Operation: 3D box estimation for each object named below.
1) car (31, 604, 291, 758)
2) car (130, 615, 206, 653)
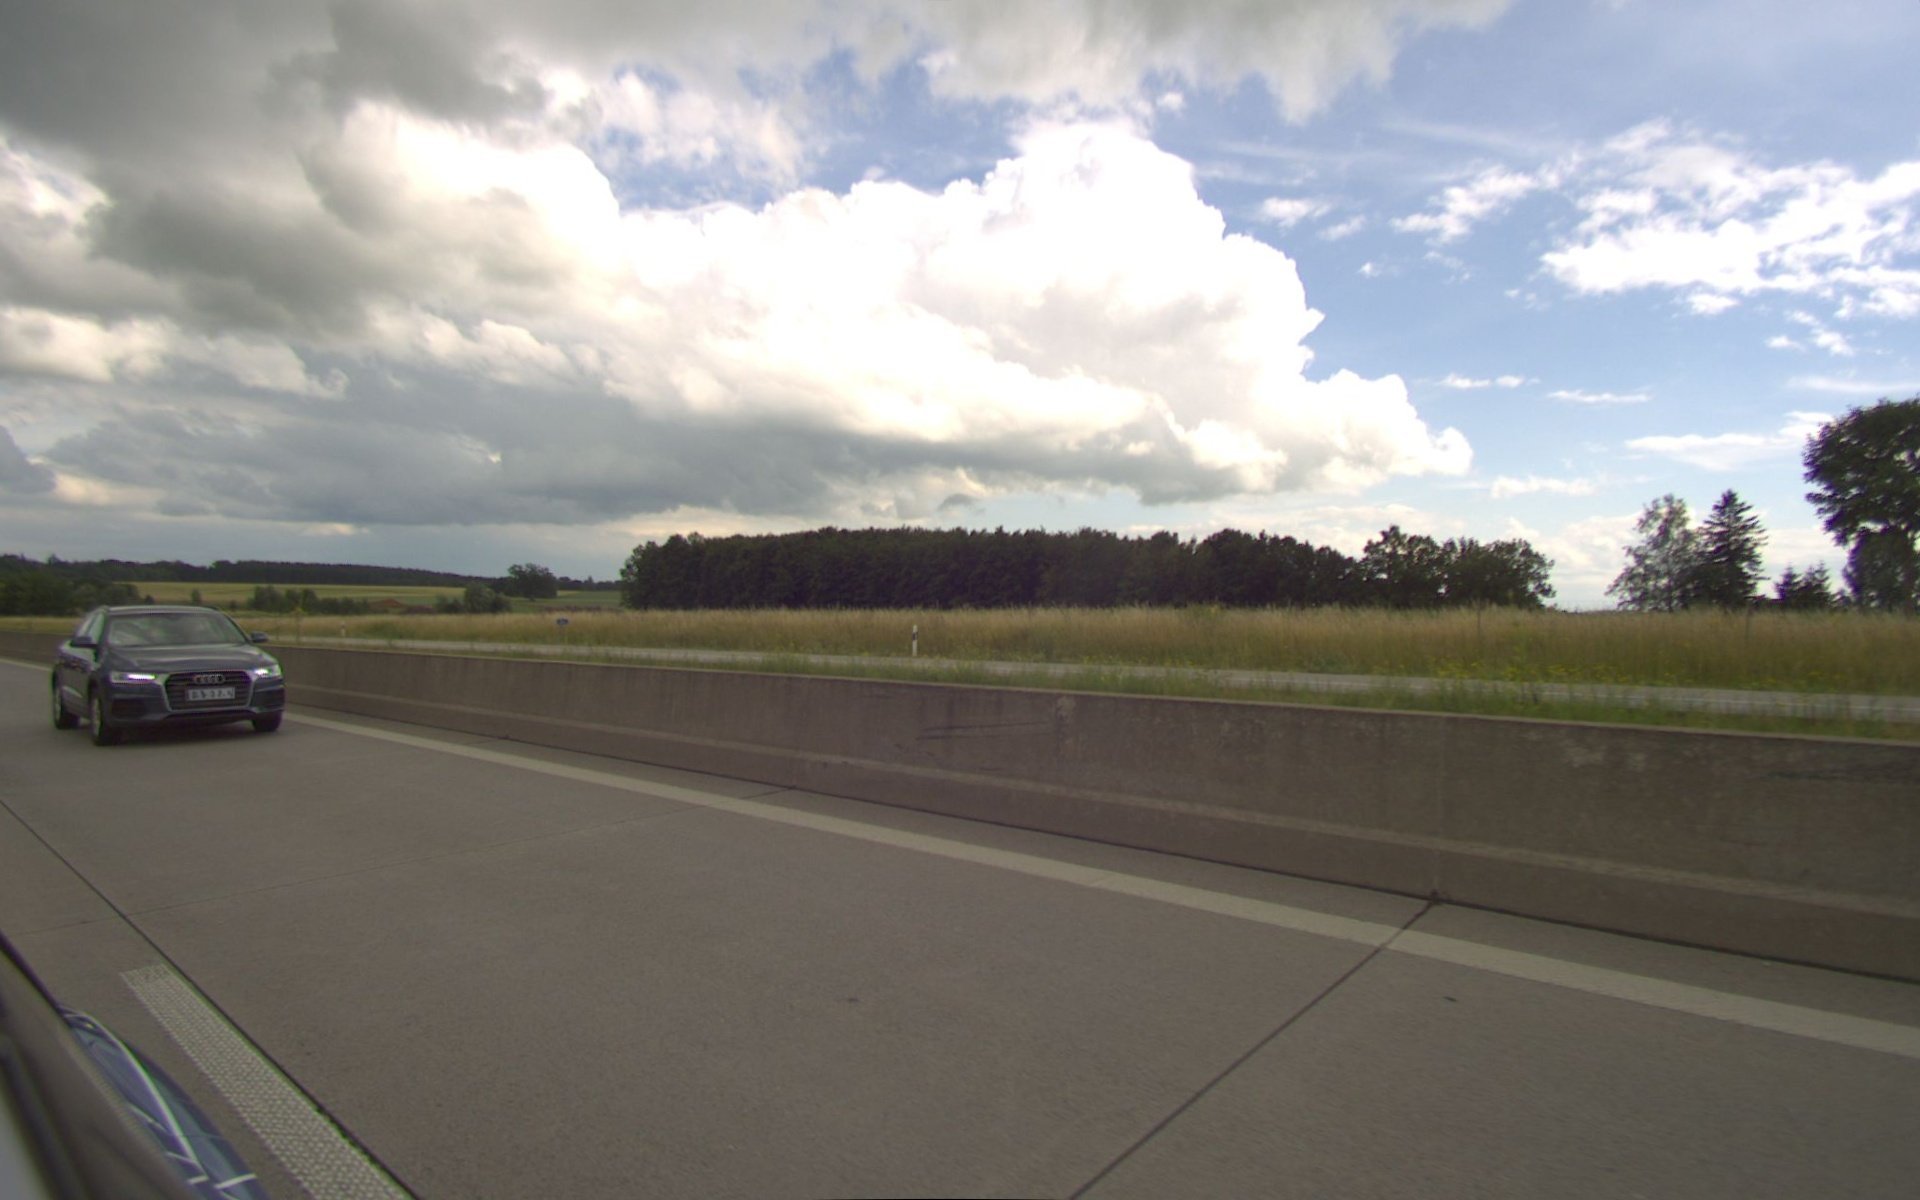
[{"bbox_3d":[-10.453,0.884,13.064,5.155,1.608,1.774,-1,0,42],"label":"car"},{"bbox_3d":[-36.324,1.523,46.394,4.395,1.652,1.973,-1,-1,41],"label":"car"}]
